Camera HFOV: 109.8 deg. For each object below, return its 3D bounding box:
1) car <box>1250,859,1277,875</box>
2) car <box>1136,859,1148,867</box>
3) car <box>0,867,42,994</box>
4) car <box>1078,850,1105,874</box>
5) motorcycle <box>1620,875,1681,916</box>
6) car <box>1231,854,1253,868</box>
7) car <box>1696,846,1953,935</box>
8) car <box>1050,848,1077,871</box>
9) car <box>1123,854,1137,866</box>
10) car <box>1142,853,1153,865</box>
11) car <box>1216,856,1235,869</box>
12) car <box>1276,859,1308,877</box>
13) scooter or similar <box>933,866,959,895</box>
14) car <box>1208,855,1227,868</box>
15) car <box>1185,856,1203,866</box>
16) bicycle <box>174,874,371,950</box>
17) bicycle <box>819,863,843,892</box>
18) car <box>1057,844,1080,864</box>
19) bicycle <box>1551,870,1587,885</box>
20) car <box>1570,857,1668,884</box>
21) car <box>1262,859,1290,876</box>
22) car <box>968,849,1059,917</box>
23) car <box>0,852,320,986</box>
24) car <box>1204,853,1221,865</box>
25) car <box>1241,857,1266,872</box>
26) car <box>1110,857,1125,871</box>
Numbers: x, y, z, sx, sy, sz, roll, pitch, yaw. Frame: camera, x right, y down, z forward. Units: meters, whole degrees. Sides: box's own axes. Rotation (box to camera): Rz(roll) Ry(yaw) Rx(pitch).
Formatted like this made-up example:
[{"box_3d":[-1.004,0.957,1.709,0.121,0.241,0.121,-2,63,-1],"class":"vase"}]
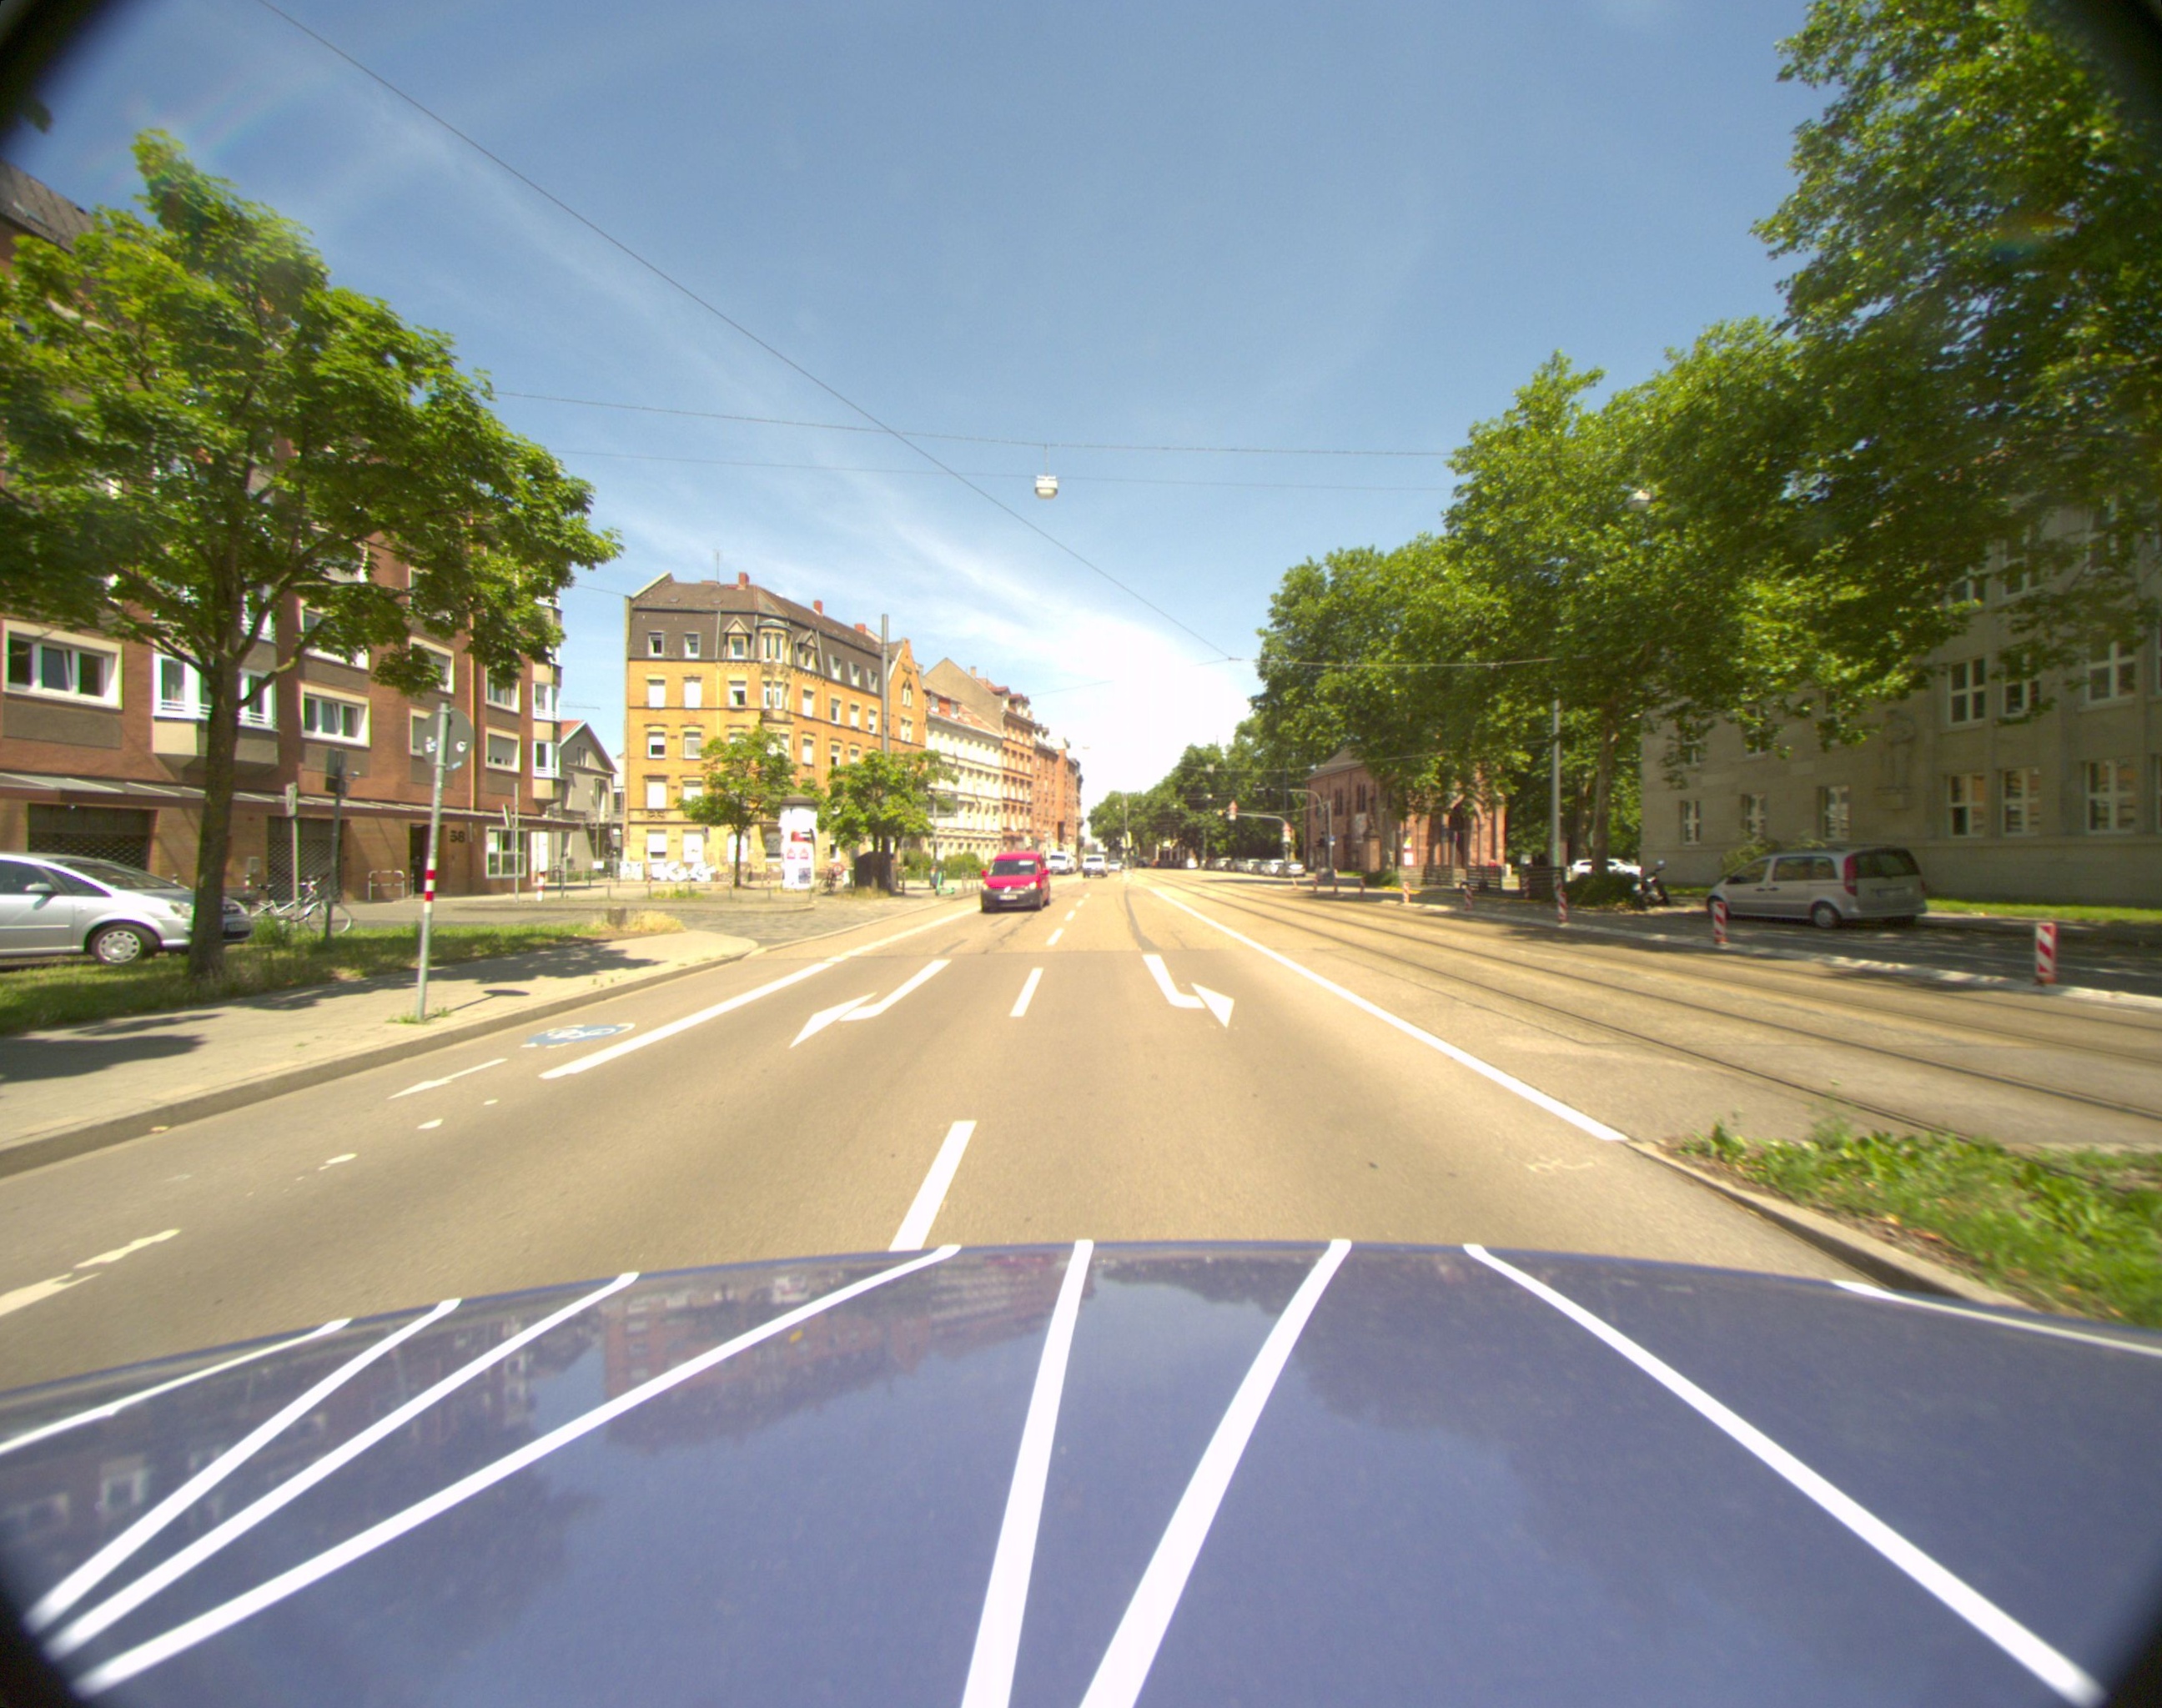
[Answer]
[{"box_3d":[18.212,1.272,76.059,1.662,1.450,4.058,-2,0,0],"class":"car"},{"box_3d":[11.148,1.673,138.706,1.751,1.387,4.346,-2,0,-2],"class":"car"},{"box_3d":[-13.715,0.908,7.309,4.003,1.391,1.820,-2,0,-20],"class":"car"},{"box_3d":[0.958,0.661,66.716,2.165,1.926,4.855,-2,0,2],"class":"car"},{"box_3d":[16.839,1.209,22.449,1.874,1.062,0.725,-3,1,-30],"class":"motorcycle"},{"box_3d":[18.305,0.781,86.506,1.747,1.515,3.753,-2,0,0],"class":"car"},{"box_3d":[17.238,0.750,17.993,1.998,1.800,4.301,-2,0,3],"class":"car"},{"box_3d":[-1.785,0.536,79.203,1.997,2.317,5.409,2,1,6],"class":"car"},{"box_3d":[7.063,0.846,109.997,1.800,1.565,4.000,-2,0,2],"class":"car"},{"box_3d":[13.762,1.037,156.544,1.821,2.284,3.761,-2,0,-2],"class":"car"},{"box_3d":[18.496,1.080,97.107,1.747,1.643,3.906,-2,0,2],"class":"car"},{"box_3d":[18.209,1.176,65.726,1.662,1.450,4.221,-2,0,1],"class":"car"},{"box_3d":[-5.668,1.107,31.990,0.390,1.207,1.182,3,0,25],"class":"scooter or similar"},{"box_3d":[18.850,0.986,105.088,1.998,1.707,4.000,-2,0,1],"class":"car"},{"box_3d":[17.819,1.108,119.963,1.977,1.554,3.999,-2,0,-2],"class":"car"},{"box_3d":[-14.866,1.026,14.070,0.739,1.186,2.365,-1,1,33],"class":"bicycle"},{"box_3d":[-10.588,0.993,32.195,0.487,1.146,1.708,-2,0,-2],"class":"bicycle"},{"box_3d":[-1.384,-0.031,86.128,1.997,2.123,5.274,2,1,6],"class":"car"},{"box_3d":[30.492,1.447,47.486,0.645,0.895,1.905,-2,0,-19],"class":"bicycle"},{"box_3d":[33.177,1.007,46.995,1.918,1.499,4.524,-2,0,-34],"class":"car"},{"box_3d":[18.176,1.215,70.978,1.662,1.450,4.058,-2,0,1],"class":"car"},{"box_3d":[-1.939,0.789,23.512,1.859,1.823,5.168,-2,0,5],"class":"car"},{"box_3d":[-13.982,0.855,10.491,4.417,1.622,1.996,-2,1,-21],"class":"car"},{"box_3d":[18.986,0.731,110.149,1.825,1.681,3.732,-2,0,1],"class":"car"},{"box_3d":[18.396,1.090,81.065,1.747,1.450,3.753,-2,0,0],"class":"car"},{"box_3d":[4.584,1.212,94.891,1.800,1.565,4.000,-2,0,2],"class":"car"}]
